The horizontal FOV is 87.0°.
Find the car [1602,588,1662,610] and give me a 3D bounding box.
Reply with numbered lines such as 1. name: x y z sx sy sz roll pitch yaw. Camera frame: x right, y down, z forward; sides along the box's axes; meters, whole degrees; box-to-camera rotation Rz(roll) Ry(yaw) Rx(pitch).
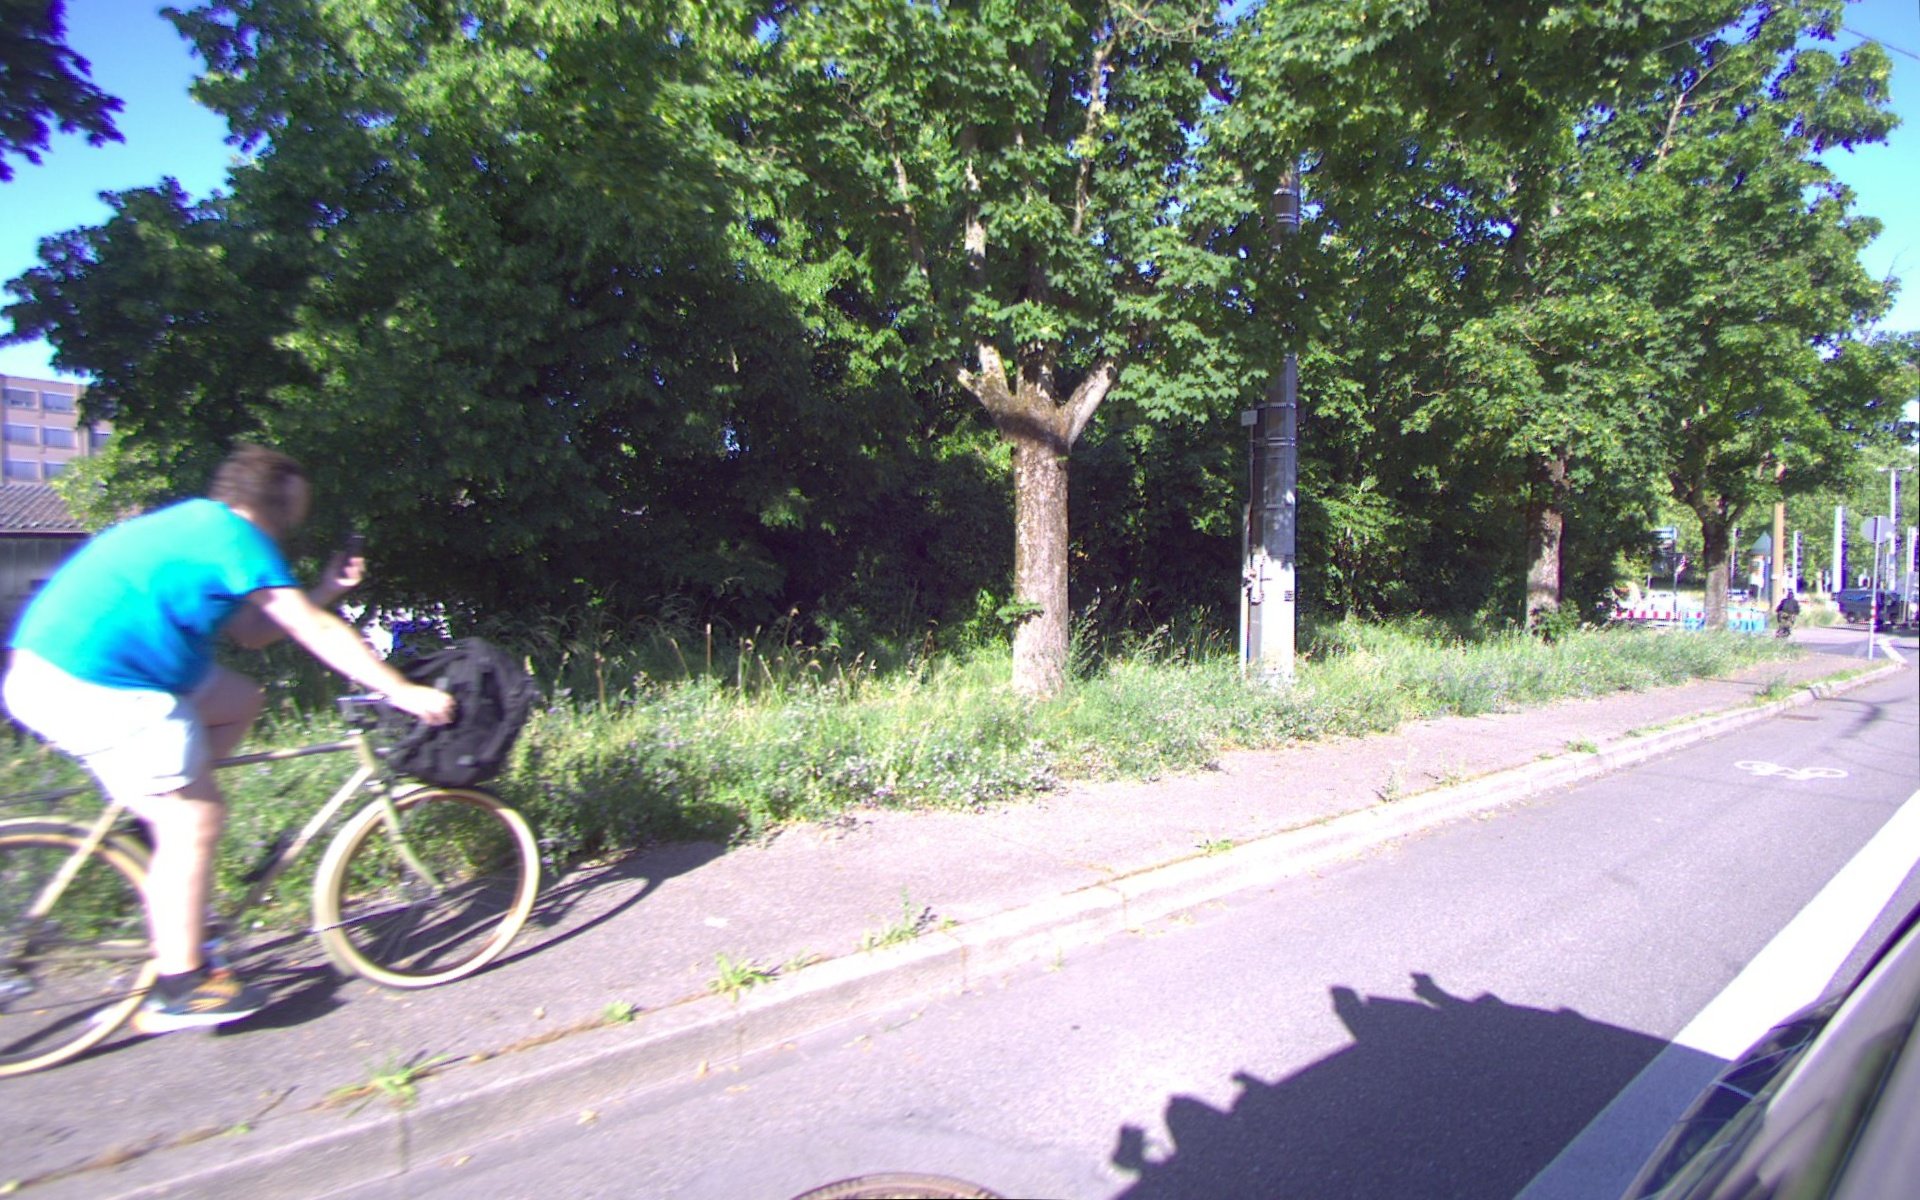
1. car: 57.583 -0.106 86.753 3.958 1.638 1.983 2 2 25

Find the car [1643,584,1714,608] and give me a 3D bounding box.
1. car: 56.793 -0.311 80.100 4.230 1.699 1.919 2 2 24

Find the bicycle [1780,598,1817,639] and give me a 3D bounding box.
1. bicycle: 26.076 0.560 31.442 2.465 1.205 0.619 0 2 -45

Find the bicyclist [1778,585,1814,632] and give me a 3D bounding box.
1. bicyclist: 25.868 0.264 31.304 0.756 1.385 0.793 3 2 44

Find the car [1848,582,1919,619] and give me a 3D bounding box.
1. car: 58.554 0.002 62.755 2.088 2.096 5.126 0 2 -5

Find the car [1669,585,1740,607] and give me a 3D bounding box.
1. car: 62.169 -0.356 84.577 4.446 1.732 1.906 1 2 25

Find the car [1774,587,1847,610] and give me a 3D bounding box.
1. car: 66.570 -0.112 79.282 4.053 1.620 1.799 2 2 28

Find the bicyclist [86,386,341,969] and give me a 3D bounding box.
1. bicyclist: -2.198 0.198 2.984 0.564 1.525 0.406 0 1 -41

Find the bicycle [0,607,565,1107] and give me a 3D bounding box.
1. bicycle: -2.098 0.638 2.981 1.691 1.203 0.419 0 2 -42
